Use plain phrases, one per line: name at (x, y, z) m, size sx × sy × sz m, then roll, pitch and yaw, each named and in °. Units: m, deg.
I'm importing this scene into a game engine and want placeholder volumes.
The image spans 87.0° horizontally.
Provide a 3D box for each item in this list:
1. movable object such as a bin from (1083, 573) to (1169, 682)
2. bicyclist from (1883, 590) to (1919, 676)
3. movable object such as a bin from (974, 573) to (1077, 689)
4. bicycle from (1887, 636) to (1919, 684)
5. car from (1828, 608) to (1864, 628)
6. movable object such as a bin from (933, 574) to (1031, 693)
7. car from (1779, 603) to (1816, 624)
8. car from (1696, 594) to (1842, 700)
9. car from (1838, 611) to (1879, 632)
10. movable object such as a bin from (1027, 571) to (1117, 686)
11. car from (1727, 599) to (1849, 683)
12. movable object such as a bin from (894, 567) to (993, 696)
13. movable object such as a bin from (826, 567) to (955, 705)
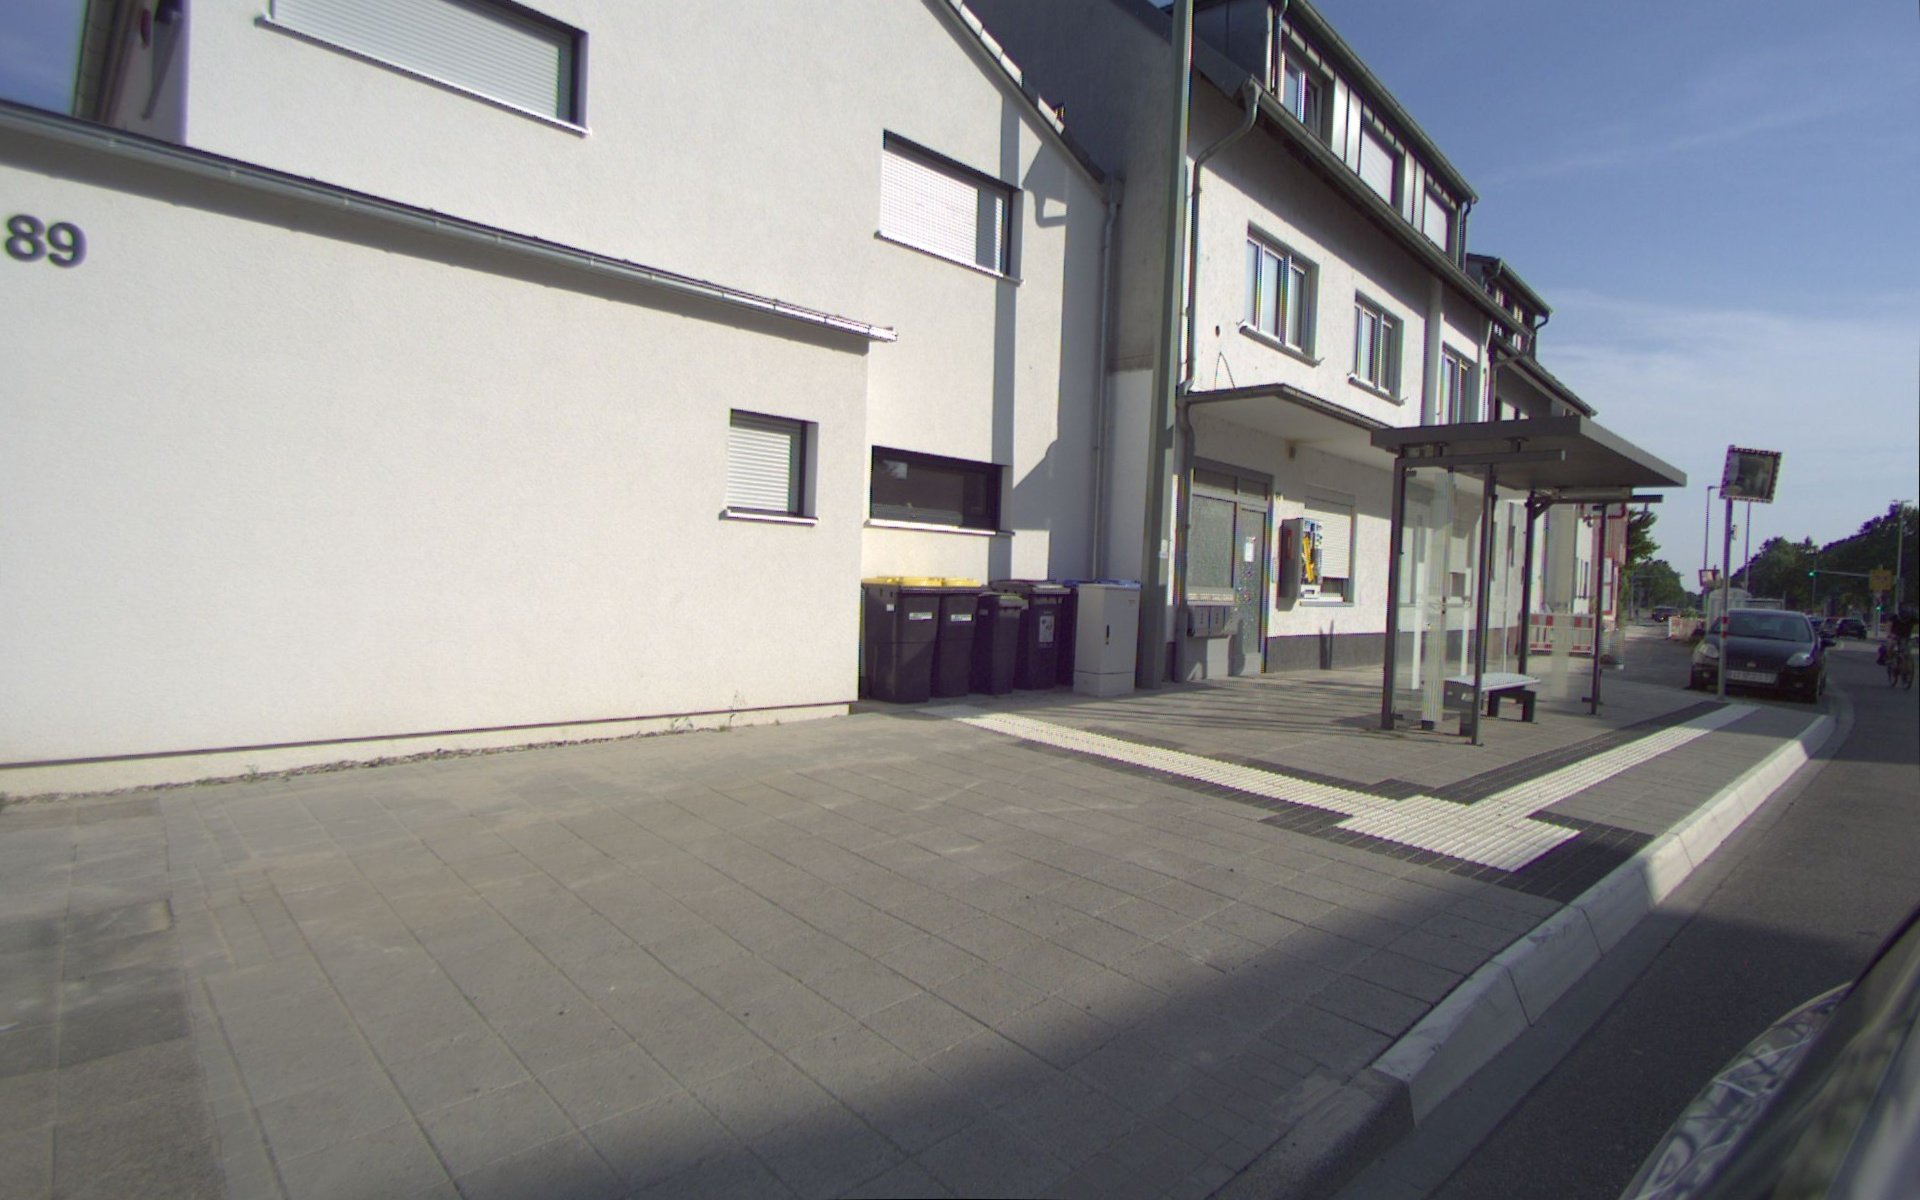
movable object such as a bin at (1.788, 0.277, 10.911) m, size 0.549 × 1.106 × 0.697 m, roll 1°, pitch 2°, yaw -43°
bicyclist at (19.478, 0.670, 20.703) m, size 0.843 × 1.710 × 0.864 m, roll 2°, pitch 1°, yaw 43°
movable object such as a bin at (0.643, 0.283, 10.047) m, size 0.592 × 1.072 × 0.813 m, roll 1°, pitch 2°, yaw -43°
bicycle at (19.380, 1.219, 20.634) m, size 0.678 × 0.865 × 1.995 m, roll 2°, pitch 1°, yaw 43°
car at (70.966, 1.423, 81.134) m, size 1.785 × 1.460 × 3.948 m, roll 2°, pitch 1°, yaw 36°
movable object such as a bin at (0.198, 0.294, 9.603) m, size 0.462 × 1.049 × 0.813 m, roll 1°, pitch 2°, yaw -43°
car at (66.547, 1.058, 80.448) m, size 1.972 × 1.548 × 3.948 m, roll 2°, pitch 1°, yaw 36°
car at (13.876, 0.709, 17.277) m, size 1.608 × 1.437 × 3.860 m, roll 8°, pitch 5°, yaw 42°
car at (64.836, 1.549, 73.093) m, size 1.785 × 1.460 × 3.948 m, roll 1°, pitch 0°, yaw 36°
movable object such as a bin at (1.150, 0.271, 10.386) m, size 0.550 × 1.106 × 0.696 m, roll 1°, pitch 2°, yaw -45°
car at (17.341, 0.782, 21.320) m, size 1.713 × 1.414 × 4.274 m, roll 7°, pitch 4°, yaw 38°
movable object such as a bin at (-0.159, 0.264, 9.258) m, size 0.435 × 1.106 × 0.813 m, roll 1°, pitch 2°, yaw -43°
movable object such as a bin at (-0.612, 0.284, 8.846) m, size 0.755 × 1.106 × 0.813 m, roll 1°, pitch 2°, yaw -43°
